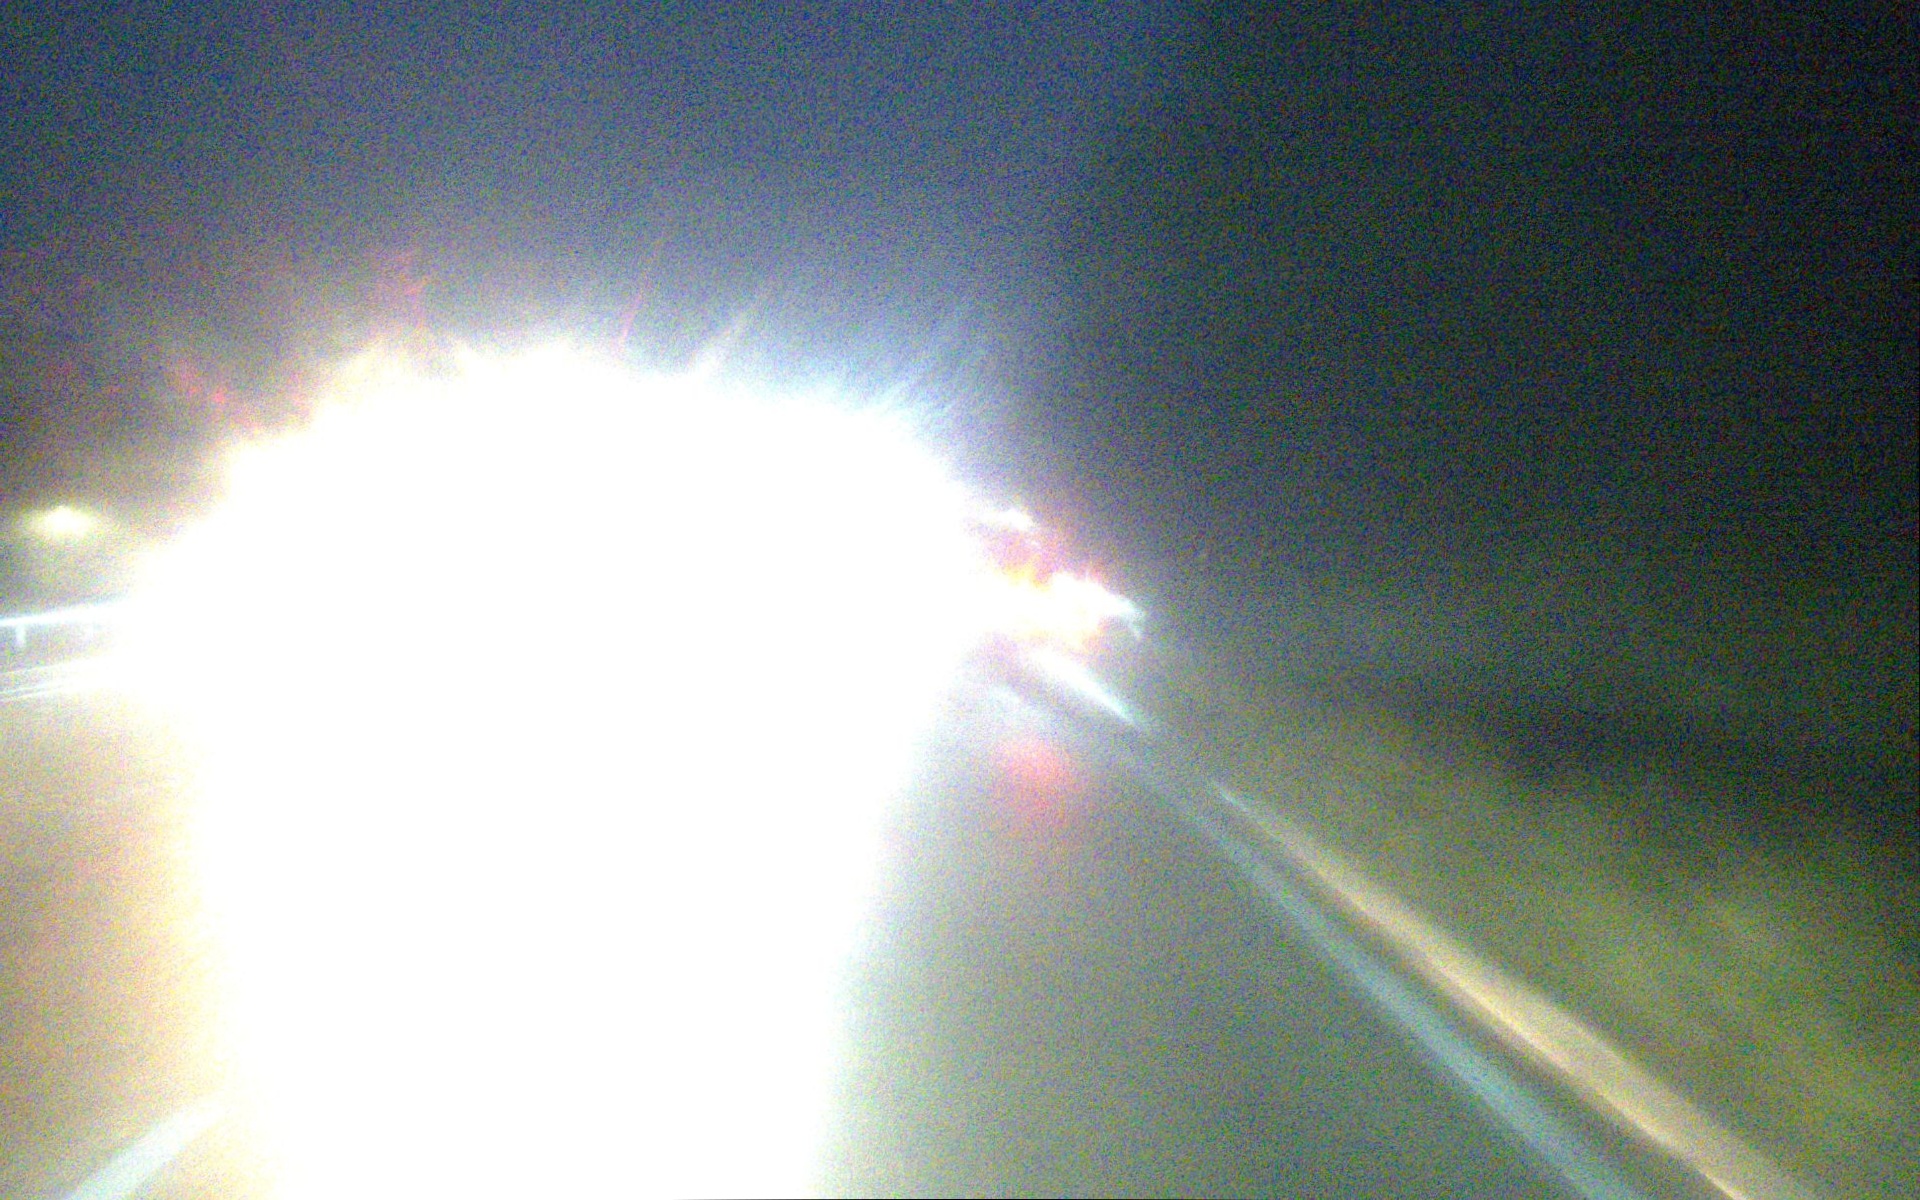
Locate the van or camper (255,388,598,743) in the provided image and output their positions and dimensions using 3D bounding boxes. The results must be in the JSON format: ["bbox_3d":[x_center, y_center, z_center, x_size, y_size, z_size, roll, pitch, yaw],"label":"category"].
[{"bbox_3d":[-4.272,-0.315,28.484,2.123,2.557,5.785,-2,1,-3],"label":"van or camper"}]

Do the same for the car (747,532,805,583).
[{"bbox_3d":[-6.139,-1.445,115.101,1.804,1.622,4.407,-1,1,-2],"label":"car"}]

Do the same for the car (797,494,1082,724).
[{"bbox_3d":[-0.173,0.049,32.526,2.458,1.952,4.912,1,1,0],"label":"car"}]
